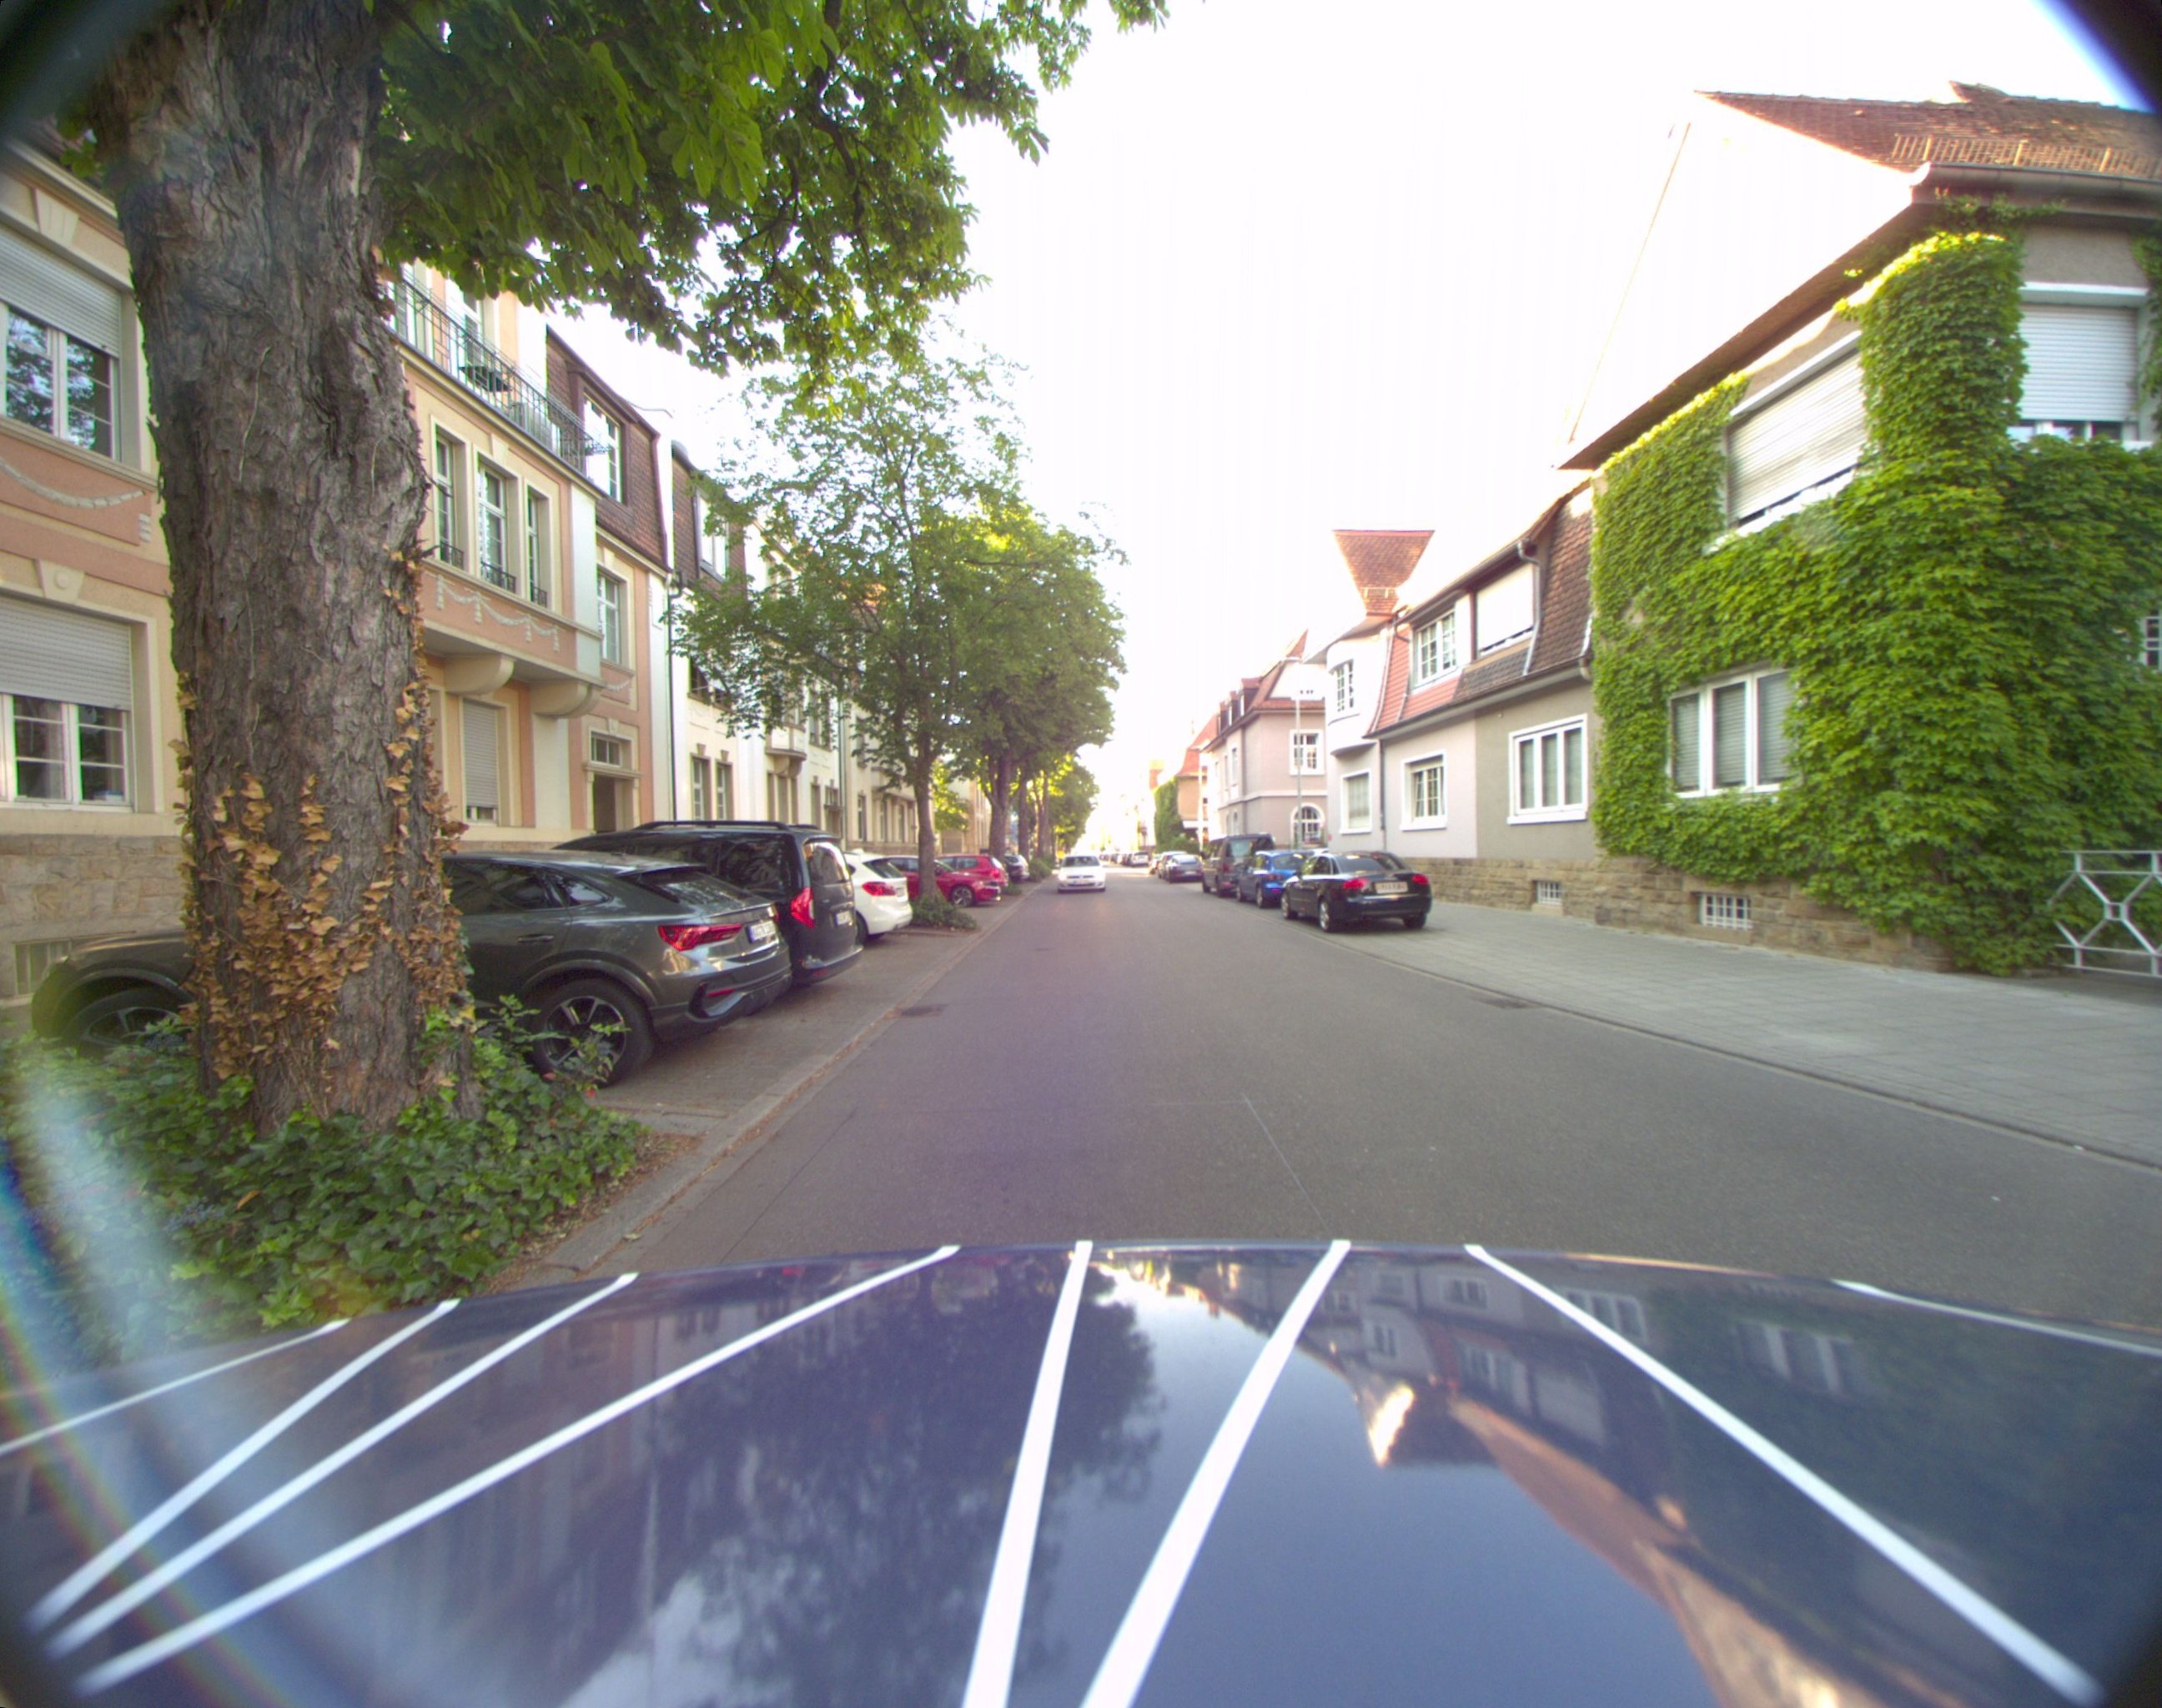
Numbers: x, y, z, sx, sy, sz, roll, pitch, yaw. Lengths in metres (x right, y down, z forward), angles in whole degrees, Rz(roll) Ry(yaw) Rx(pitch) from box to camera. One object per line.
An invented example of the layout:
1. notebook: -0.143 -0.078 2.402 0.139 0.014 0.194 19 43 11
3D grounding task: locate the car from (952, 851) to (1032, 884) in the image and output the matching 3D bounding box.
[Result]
1. car: -4.272 0.621 36.837 3.680 1.548 1.576 0 1 2

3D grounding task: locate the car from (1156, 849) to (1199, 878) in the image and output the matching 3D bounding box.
1. car: 5.292 0.493 42.141 1.932 1.458 4.062 -3 1 2

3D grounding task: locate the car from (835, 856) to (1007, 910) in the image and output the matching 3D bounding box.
1. car: -4.526 0.800 21.936 4.530 1.443 1.867 0 1 3

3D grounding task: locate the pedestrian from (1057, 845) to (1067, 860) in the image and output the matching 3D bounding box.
1. pedestrian: -2.467 -0.157 98.047 1.119 1.927 1.097 -3 1 -1

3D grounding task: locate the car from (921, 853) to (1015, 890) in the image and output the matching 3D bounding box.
1. car: -4.669 0.710 31.708 3.680 1.458 1.576 0 1 2

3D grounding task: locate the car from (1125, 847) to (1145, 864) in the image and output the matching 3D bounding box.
1. car: 5.345 0.100 75.268 1.699 1.520 3.677 -3 1 2

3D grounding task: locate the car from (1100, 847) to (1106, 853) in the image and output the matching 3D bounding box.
1. car: 5.859 -1.064 202.665 1.699 1.520 3.677 -3 1 2

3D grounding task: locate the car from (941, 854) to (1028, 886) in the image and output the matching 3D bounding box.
1. car: -4.306 0.712 34.324 3.680 1.390 1.576 0 1 2

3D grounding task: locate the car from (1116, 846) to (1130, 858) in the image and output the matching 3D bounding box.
1. car: 5.557 -0.268 100.732 1.699 1.520 3.677 -3 1 2

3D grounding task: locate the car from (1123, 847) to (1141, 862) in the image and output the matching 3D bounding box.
1. car: 5.447 0.041 80.760 1.699 1.520 3.677 -3 1 2

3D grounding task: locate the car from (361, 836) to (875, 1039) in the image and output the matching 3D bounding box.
1. car: -4.429 0.741 7.829 4.121 1.827 1.844 0 1 -2

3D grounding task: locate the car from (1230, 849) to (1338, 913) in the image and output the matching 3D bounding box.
1. car: 5.289 0.637 20.340 1.768 1.438 4.062 -3 1 0

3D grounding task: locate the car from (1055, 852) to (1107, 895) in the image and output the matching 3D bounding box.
1. car: 0.033 0.689 29.443 1.819 1.454 4.072 -2 0 1

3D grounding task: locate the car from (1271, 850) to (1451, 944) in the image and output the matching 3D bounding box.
1. car: 5.141 0.690 14.648 1.806 1.438 4.428 -3 1 0

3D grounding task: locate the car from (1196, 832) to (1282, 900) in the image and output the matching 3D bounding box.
1. car: 5.153 0.345 25.351 1.842 1.964 4.612 -3 1 1

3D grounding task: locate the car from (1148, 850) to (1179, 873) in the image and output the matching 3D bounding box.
1. car: 5.448 0.458 50.381 1.662 1.354 3.677 -3 1 2

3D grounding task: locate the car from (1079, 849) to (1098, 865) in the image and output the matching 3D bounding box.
1. car: 0.728 0.274 75.944 1.819 1.454 4.072 -2 0 1

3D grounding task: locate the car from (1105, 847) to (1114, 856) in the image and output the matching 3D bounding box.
1. car: 5.587 -0.505 149.116 1.699 1.520 3.677 -3 1 2

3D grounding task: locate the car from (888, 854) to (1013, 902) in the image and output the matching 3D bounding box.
1. car: -4.131 0.751 24.464 3.680 1.473 1.659 0 1 3

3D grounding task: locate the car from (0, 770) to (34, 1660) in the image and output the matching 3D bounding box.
1. car: -4.586 0.774 0.519 4.763 1.864 1.896 0 1 -4

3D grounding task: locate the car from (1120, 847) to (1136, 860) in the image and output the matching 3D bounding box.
1. car: 5.575 -0.068 91.006 1.699 1.520 3.677 -3 1 2

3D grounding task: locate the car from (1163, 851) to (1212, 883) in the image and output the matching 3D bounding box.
1. car: 5.070 0.584 36.664 1.932 1.376 4.063 -3 1 4

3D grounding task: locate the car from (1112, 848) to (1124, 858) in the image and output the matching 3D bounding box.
1. car: 5.563 -0.151 115.859 1.699 1.520 3.677 -3 1 2

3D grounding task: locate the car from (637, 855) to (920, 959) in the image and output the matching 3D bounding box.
1. car: -4.823 0.819 12.530 3.950 1.568 1.719 0 1 0

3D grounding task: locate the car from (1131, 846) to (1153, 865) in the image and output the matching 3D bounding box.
1. car: 5.431 0.134 68.004 1.699 1.558 3.677 -3 1 2

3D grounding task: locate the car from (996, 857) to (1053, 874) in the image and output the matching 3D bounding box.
1. car: -3.507 0.719 47.640 3.399 1.057 1.542 0 1 2

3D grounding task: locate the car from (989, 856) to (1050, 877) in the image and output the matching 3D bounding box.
1. car: -3.556 0.726 44.434 3.399 1.143 1.542 0 1 2

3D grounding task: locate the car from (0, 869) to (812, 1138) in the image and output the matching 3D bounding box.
1. car: -4.531 0.903 5.505 4.522 1.514 1.844 0 1 -4
